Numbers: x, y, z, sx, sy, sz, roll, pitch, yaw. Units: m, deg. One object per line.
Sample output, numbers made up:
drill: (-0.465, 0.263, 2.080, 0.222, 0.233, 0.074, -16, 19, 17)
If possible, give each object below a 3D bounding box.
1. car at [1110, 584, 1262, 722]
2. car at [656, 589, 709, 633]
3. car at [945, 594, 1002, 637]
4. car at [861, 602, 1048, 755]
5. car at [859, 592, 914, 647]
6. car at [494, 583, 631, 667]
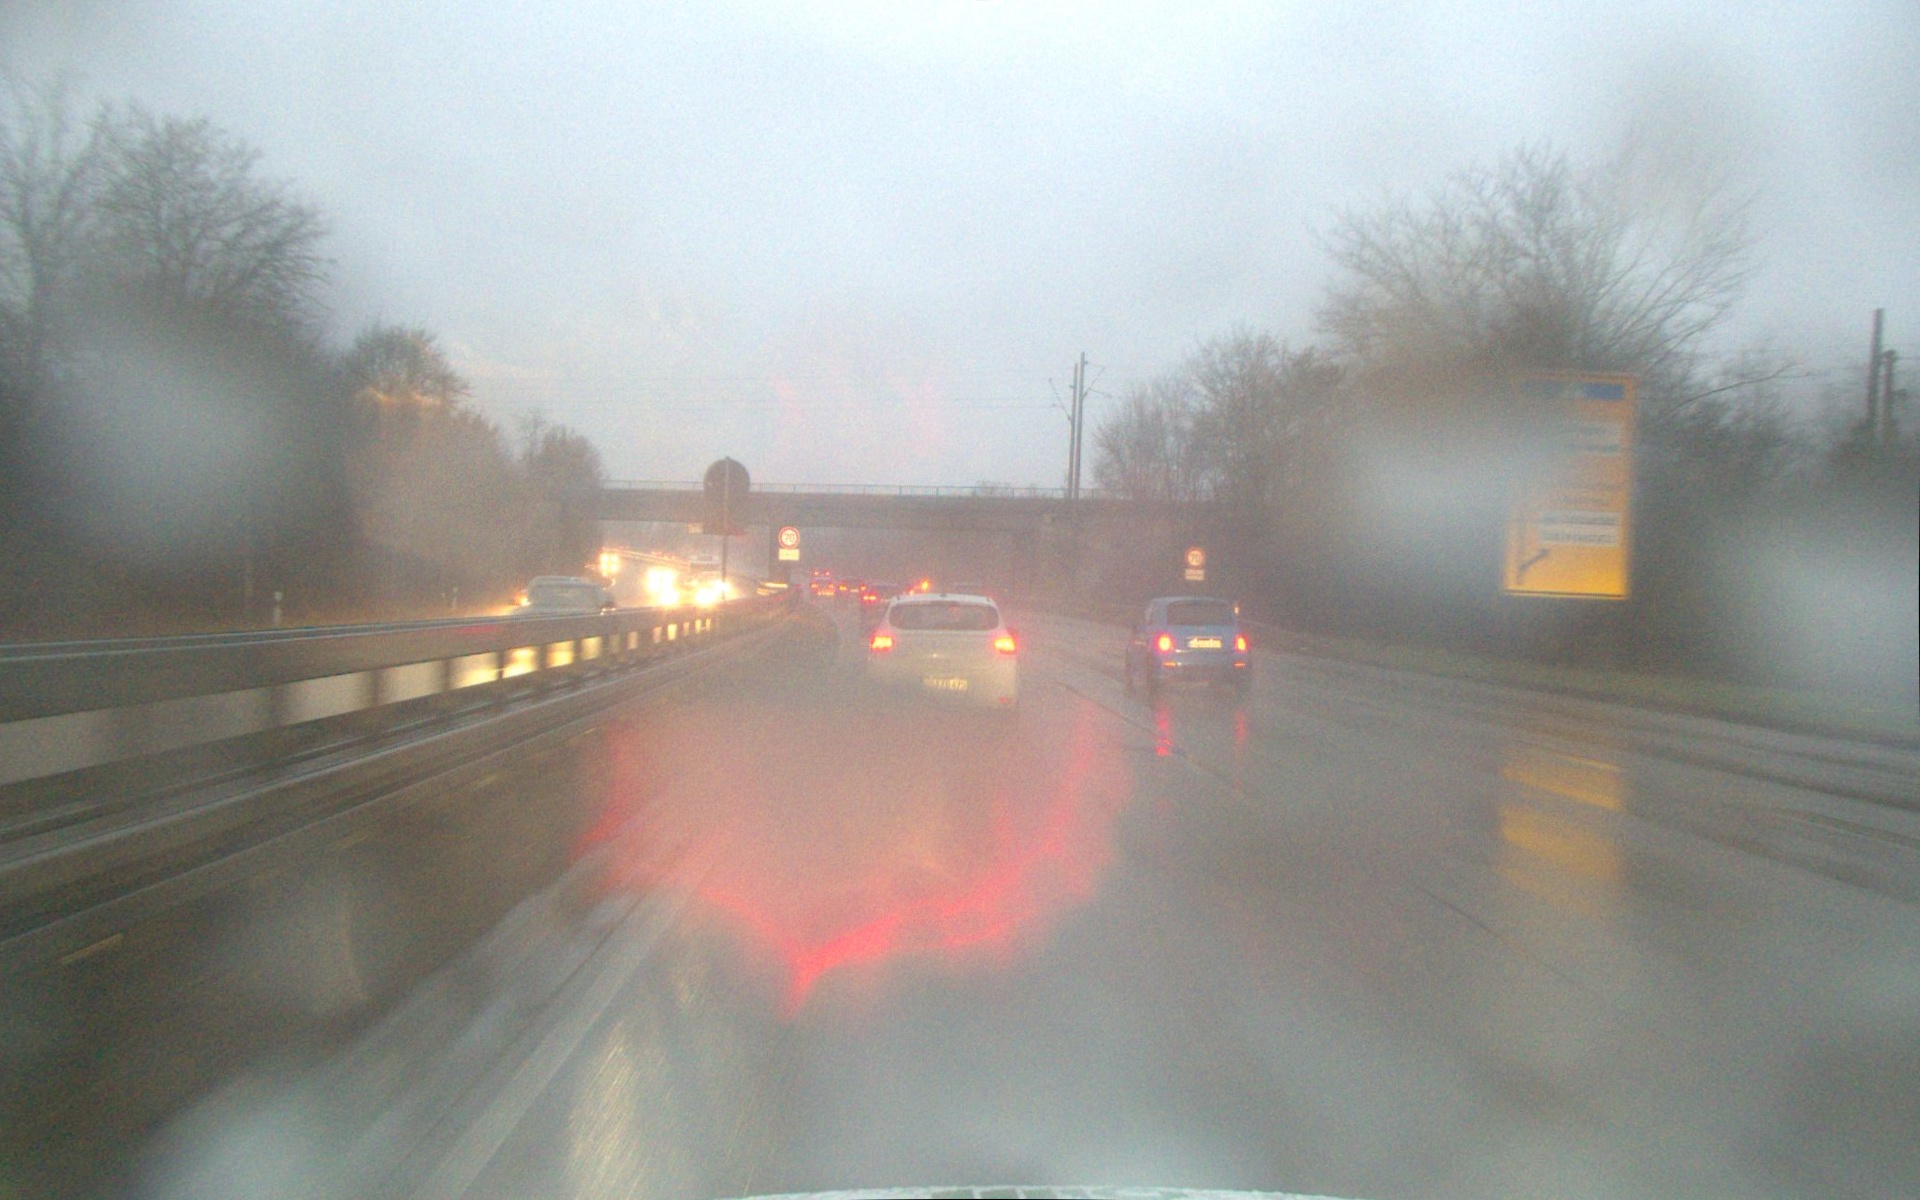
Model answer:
car: (3.625, 0.831, 27.154, 1.893, 2.055, 3.772, 2, -1, -1)
car: (-11.664, 0.463, 69.749, 1.732, 1.713, 3.997, 2, -1, -3)
car: (0.519, 0.667, 68.305, 1.896, 1.573, 3.768, -4, -2, -6)
car: (-0.042, 0.865, 19.930, 1.983, 1.602, 4.000, 2, -1, 0)
car: (-2.892, 0.750, 64.506, 1.954, 2.049, 3.996, 2, -1, -5)
car: (-7.576, 0.467, 31.889, 1.719, 1.466, 3.999, 2, -1, -1)
